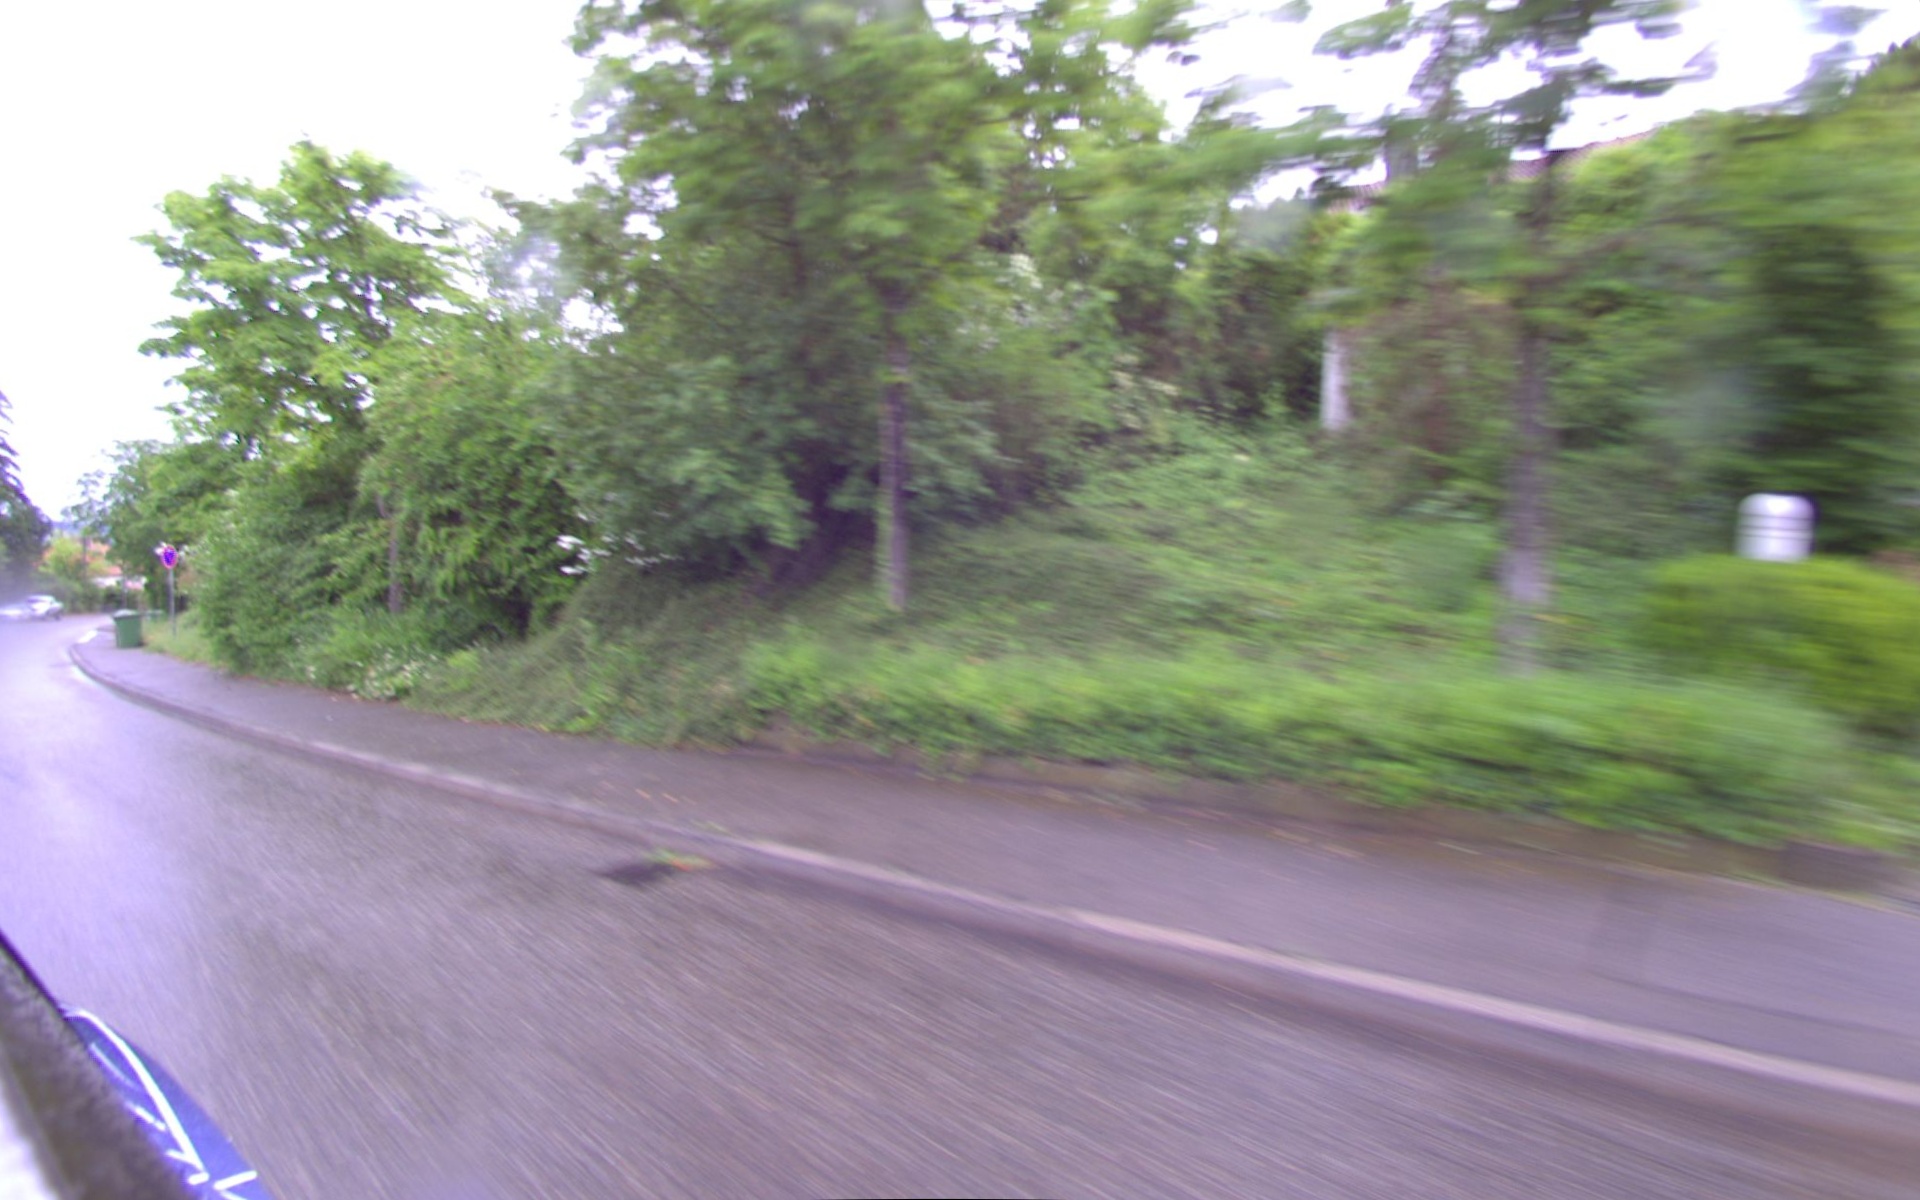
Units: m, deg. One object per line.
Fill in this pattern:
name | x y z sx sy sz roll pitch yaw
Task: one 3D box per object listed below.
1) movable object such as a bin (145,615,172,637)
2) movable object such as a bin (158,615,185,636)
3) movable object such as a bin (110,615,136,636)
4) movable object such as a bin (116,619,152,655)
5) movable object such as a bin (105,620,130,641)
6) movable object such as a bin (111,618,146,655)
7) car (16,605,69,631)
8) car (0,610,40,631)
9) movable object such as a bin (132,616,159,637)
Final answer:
movable object such as a bin | -40.804 1.329 51.544 0.710 1.035 0.779 -1 2 5
movable object such as a bin | -40.083 1.298 51.475 0.710 1.035 0.779 -1 2 5
movable object such as a bin | -42.940 1.287 51.931 0.716 1.035 0.773 0 3 27
movable object such as a bin | -25.113 1.122 30.760 0.691 1.076 0.760 0 0 42
movable object such as a bin | -43.563 1.560 52.330 0.716 1.035 0.773 0 3 27
movable object such as a bin | -26.038 1.136 31.704 0.738 1.105 0.760 0 0 42
car | -69.565 1.325 76.808 1.839 1.832 4.877 0 0 -29
car | -66.798 1.417 71.609 1.725 1.434 4.012 0 0 -30
movable object such as a bin | -41.539 1.348 51.608 0.710 1.035 0.779 -1 2 5
